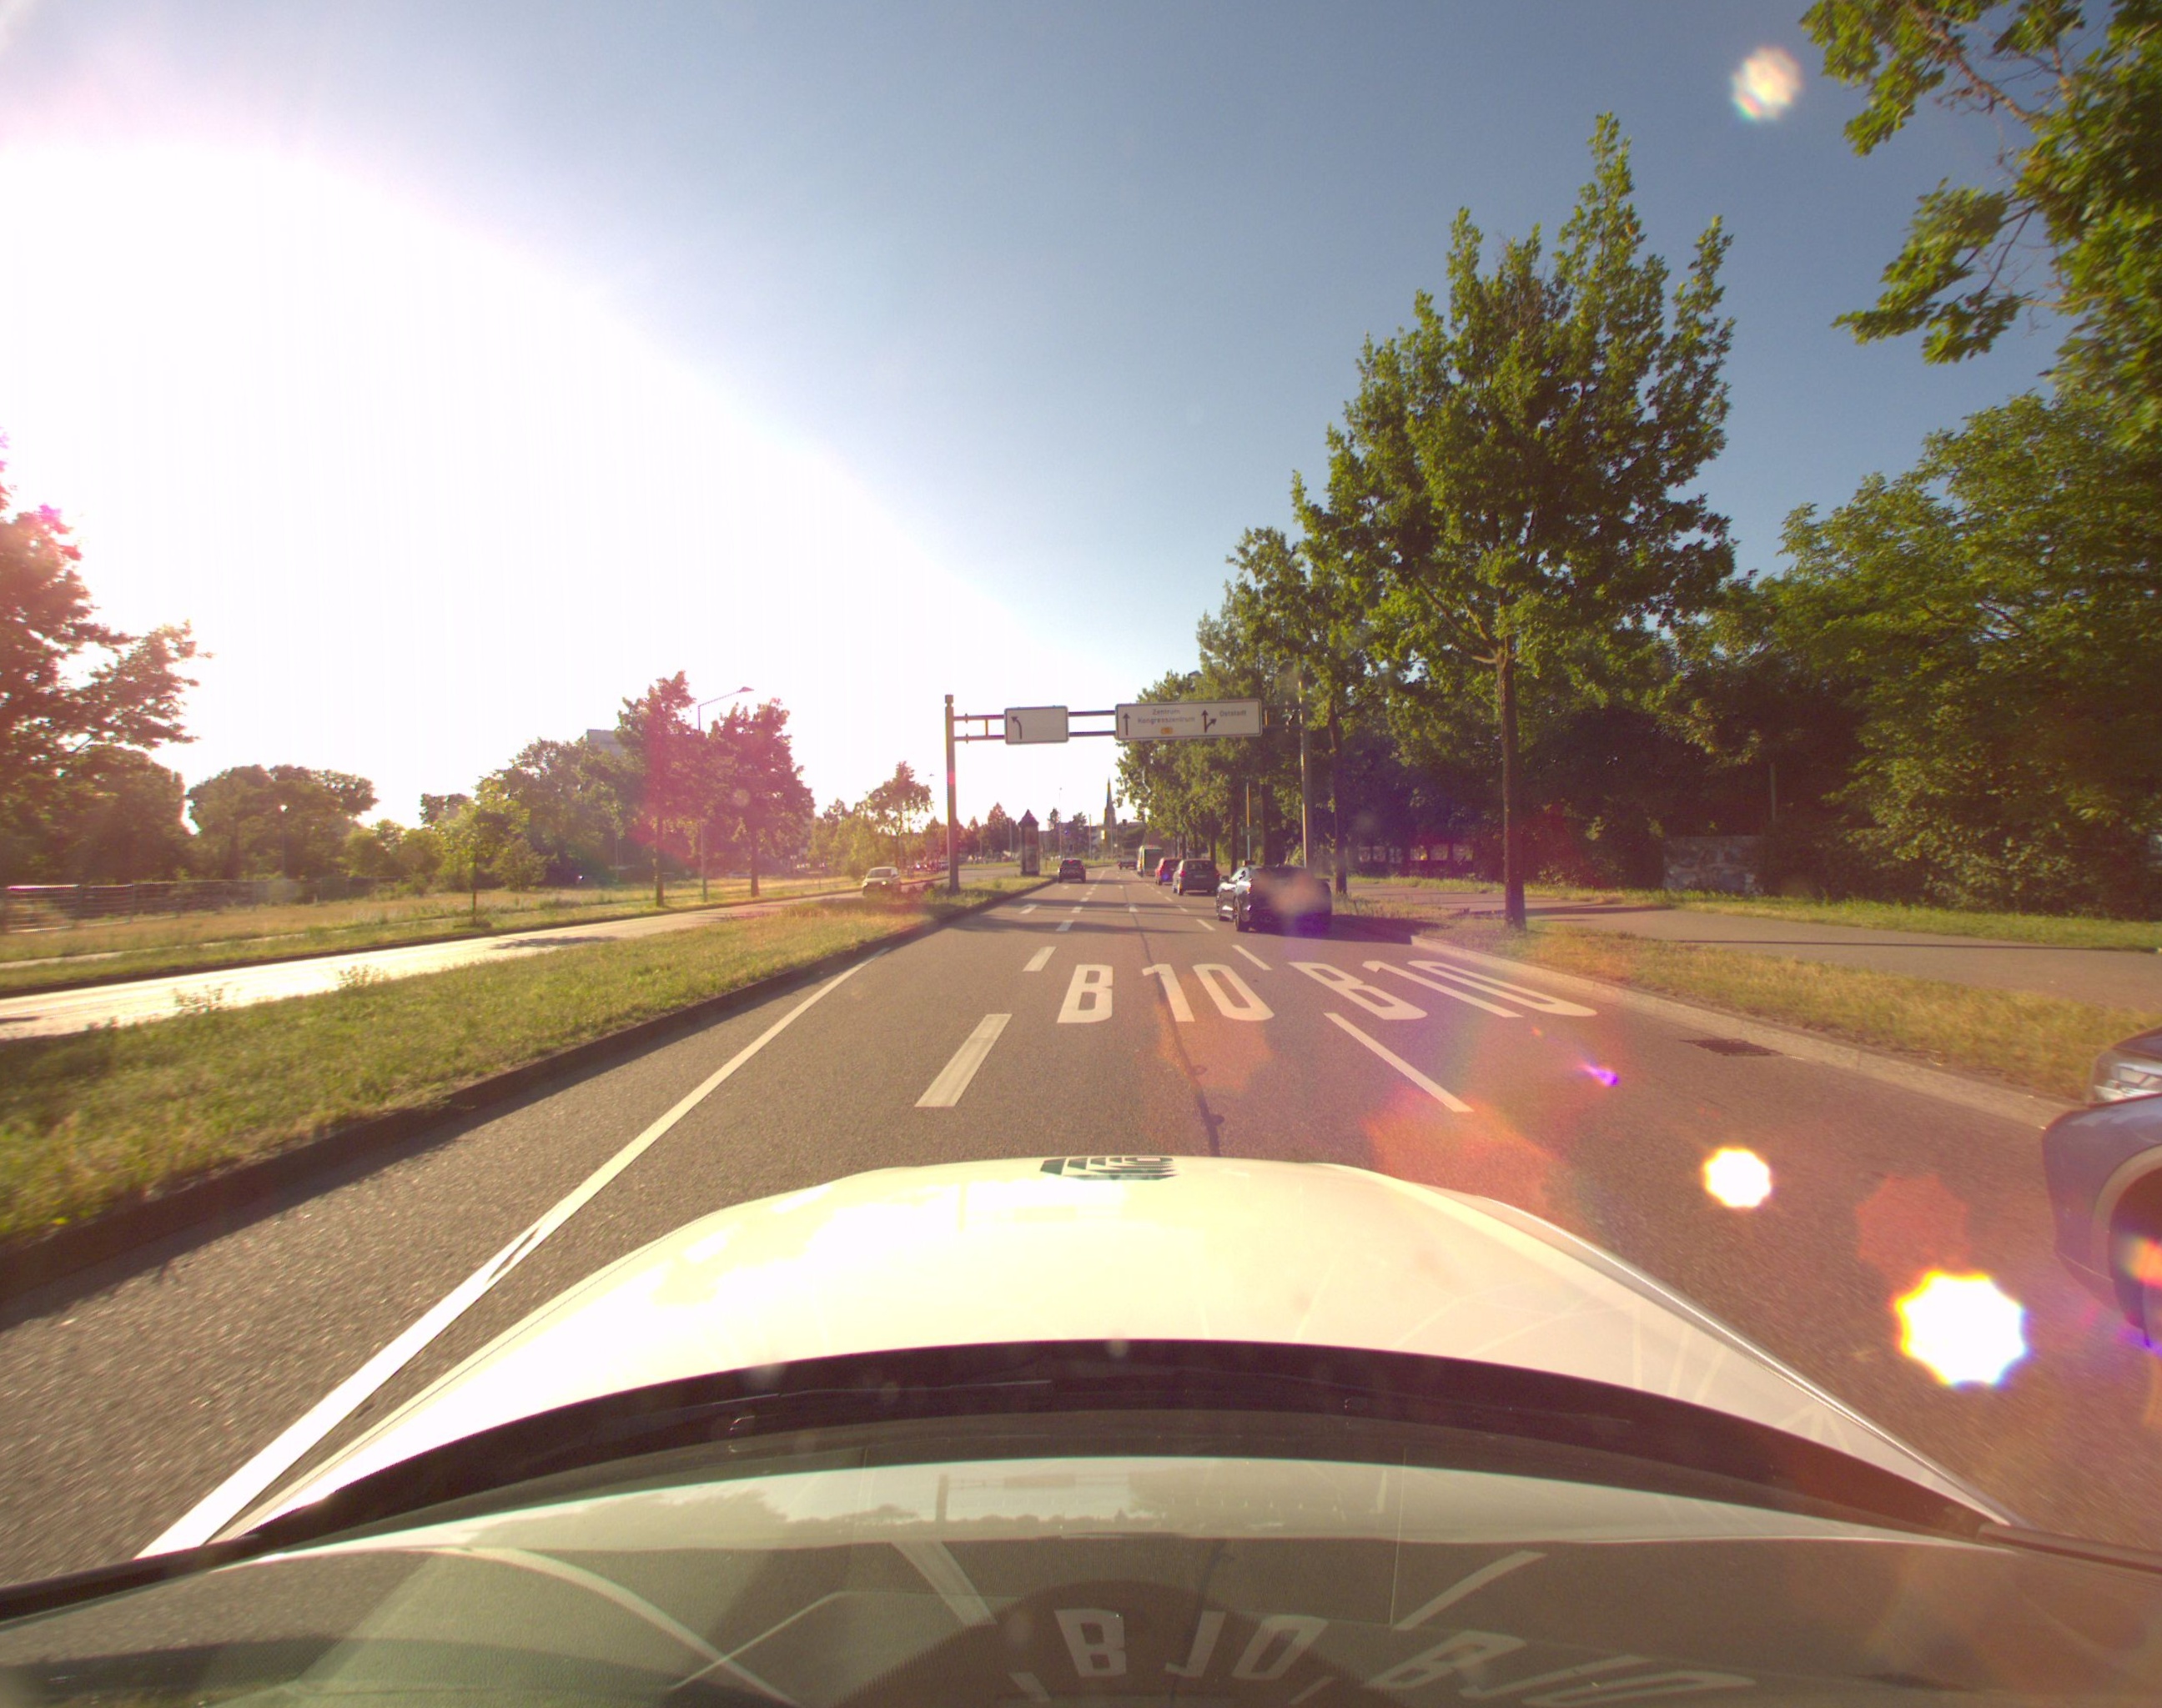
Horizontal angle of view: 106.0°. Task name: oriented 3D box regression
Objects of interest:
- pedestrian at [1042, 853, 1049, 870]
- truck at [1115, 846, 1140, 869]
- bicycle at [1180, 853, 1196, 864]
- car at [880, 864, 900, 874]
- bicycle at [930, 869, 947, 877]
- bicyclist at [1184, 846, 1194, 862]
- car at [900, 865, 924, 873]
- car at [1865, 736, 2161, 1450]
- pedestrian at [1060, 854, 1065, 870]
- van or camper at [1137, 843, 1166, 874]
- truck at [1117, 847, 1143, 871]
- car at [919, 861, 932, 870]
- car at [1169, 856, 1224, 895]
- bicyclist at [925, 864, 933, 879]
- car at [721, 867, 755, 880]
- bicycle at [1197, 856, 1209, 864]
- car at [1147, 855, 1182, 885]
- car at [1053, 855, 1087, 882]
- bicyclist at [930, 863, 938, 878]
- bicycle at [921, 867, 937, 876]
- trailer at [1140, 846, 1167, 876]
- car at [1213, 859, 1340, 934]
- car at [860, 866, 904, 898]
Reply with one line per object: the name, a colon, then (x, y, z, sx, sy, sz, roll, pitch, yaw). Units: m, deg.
pedestrian: (-4.170, 0.910, 96.487, 0.787, 2.013, 0.700, -2, 0, -4)
truck: (5.601, 0.346, 97.551, 2.567, 2.558, 6.263, -2, 0, 7)
bicycle: (13.010, 0.536, 98.905, 1.885, 1.244, 0.613, -4, -1, 38)
car: (-34.179, 2.702, 145.888, 1.653, 1.441, 3.634, -3, 0, 20)
bicycle: (-17.394, 2.332, 99.297, 1.897, 1.019, 0.506, -1, 0, 9)
bicyclist: (13.101, 0.021, 98.817, 0.927, 1.899, 0.605, -4, -1, 38)
car: (-32.617, 2.937, 157.292, 4.100, 1.376, 1.681, -3, 0, 21)
car: (3.523, 0.556, 0.346, 1.947, 1.727, 4.701, -1, 0, 2)
pedestrian: (-2.151, 0.882, 95.355, 0.483, 1.844, 0.721, -2, -1, 9)
van or camper: (6.328, 0.391, 73.658, 2.275, 2.629, 6.587, -1, 0, 3)
truck: (5.863, 0.564, 97.219, 2.204, 2.651, 4.790, -2, 0, 13)
car: (-27.101, 1.955, 141.861, 1.901, 1.444, 4.131, -2, 0, -6)
car: (4.751, 0.851, 34.042, 1.741, 1.473, 3.820, -2, 0, 0)
bicyclist: (-18.337, 2.110, 98.113, 0.806, 1.770, 0.498, -1, 0, 17)
car: (-44.930, 2.533, 106.800, 3.728, 1.508, 1.853, -2, 0, -41)
bicycle: (14.952, 0.711, 99.826, 1.462, 0.786, 0.437, -6, 2, -16)
car: (4.905, 0.931, 48.085, 1.741, 1.621, 3.820, -1, -1, 1)
car: (-0.682, 0.959, 54.311, 1.897, 1.660, 4.003, -2, 0, 3)
bicyclist: (-17.885, 1.991, 99.381, 0.808, 1.789, 0.498, -1, 0, 10)
bicycle: (-18.310, 2.107, 98.102, 1.893, 1.019, 0.506, -1, 0, 17)
trailer: (6.007, 0.590, 67.562, 2.082, 2.400, 3.503, -1, 0, 2)
car: (4.060, 0.822, 17.680, 1.847, 1.338, 4.628, -1, 0, 2)
car: (-11.005, 1.519, 45.239, 1.557, 1.575, 3.411, -2, 0, -1)
